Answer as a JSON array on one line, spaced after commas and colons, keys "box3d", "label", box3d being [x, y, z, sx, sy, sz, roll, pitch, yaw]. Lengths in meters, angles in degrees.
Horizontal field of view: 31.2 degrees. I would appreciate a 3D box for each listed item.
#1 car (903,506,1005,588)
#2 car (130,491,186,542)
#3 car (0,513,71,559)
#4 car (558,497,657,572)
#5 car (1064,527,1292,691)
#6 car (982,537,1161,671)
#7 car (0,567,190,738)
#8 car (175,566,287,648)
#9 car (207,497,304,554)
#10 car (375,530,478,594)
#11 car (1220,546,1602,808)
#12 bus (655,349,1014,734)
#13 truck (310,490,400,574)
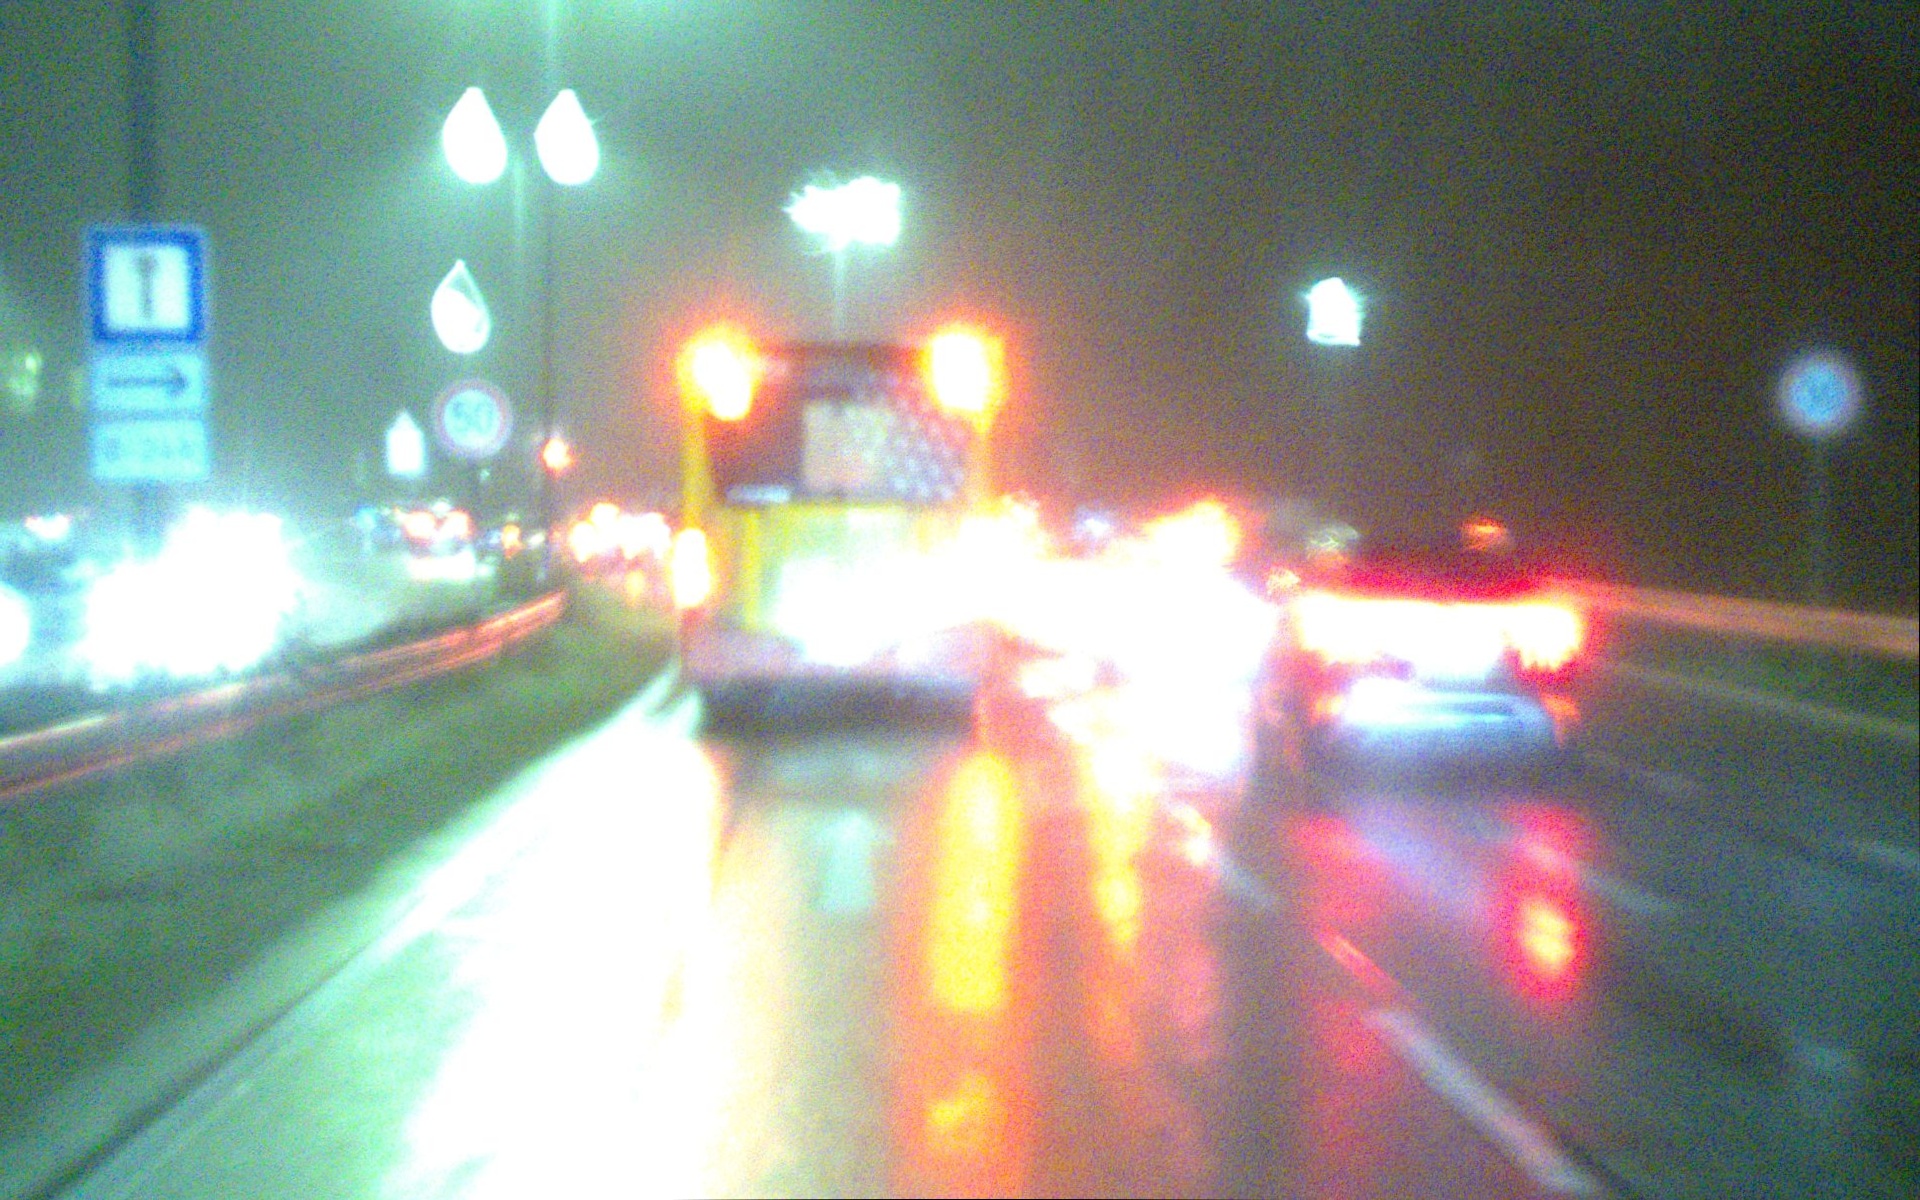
[{"box3d": [-0.152, -1.048, 67.339, 1.779, 1.538, 3.875, 0, 1, -3], "label": "car"}, {"box3d": [-32.924, -3.418, 141.131, 2.120, 2.007, 4.001, 1, 0, -14], "label": "car"}, {"box3d": [-37.520, -2.592, 138.521, 1.994, 1.680, 4.000, 1, 2, -34], "label": "car"}, {"box3d": [-9.758, -1.799, 94.950, 1.993, 2.007, 4.001, 1, 0, -16], "label": "car"}, {"box3d": [2.206, 0.053, 35.751, 1.819, 1.585, 3.777, -1, 1, -5], "label": "car"}, {"box3d": [1.361, 0.008, 43.439, 1.819, 1.585, 3.777, -1, 1, -5], "label": "car"}, {"box3d": [-9.198, 0.509, 36.153, 1.620, 1.645, 4.001, -2, 1, -6], "label": "car"}, {"box3d": [-15.972, 0.123, 75.452, 1.808, 1.563, 4.001, -4, 2, -5], "label": "car"}, {"box3d": [-25.625, -2.705, 124.960, 1.994, 2.007, 3.999, 1, 1, -36], "label": "car"}, {"box3d": [-17.344, -1.250, 111.631, 2.211, 2.007, 4.001, -1, 1, -26], "label": "car"}, {"box3d": [2.883, 0.440, 22.753, 1.739, 1.559, 3.777, 1, 1, -5], "label": "car"}, {"box3d": [-1.222, -0.540, 31.376, 2.815, 3.013, 8.688, 0, 1, -3], "label": "bus"}, {"box3d": [-19.249, -2.198, 109.293, 1.855, 2.384, 4.781, -3, 4, -21], "label": "truck"}]
